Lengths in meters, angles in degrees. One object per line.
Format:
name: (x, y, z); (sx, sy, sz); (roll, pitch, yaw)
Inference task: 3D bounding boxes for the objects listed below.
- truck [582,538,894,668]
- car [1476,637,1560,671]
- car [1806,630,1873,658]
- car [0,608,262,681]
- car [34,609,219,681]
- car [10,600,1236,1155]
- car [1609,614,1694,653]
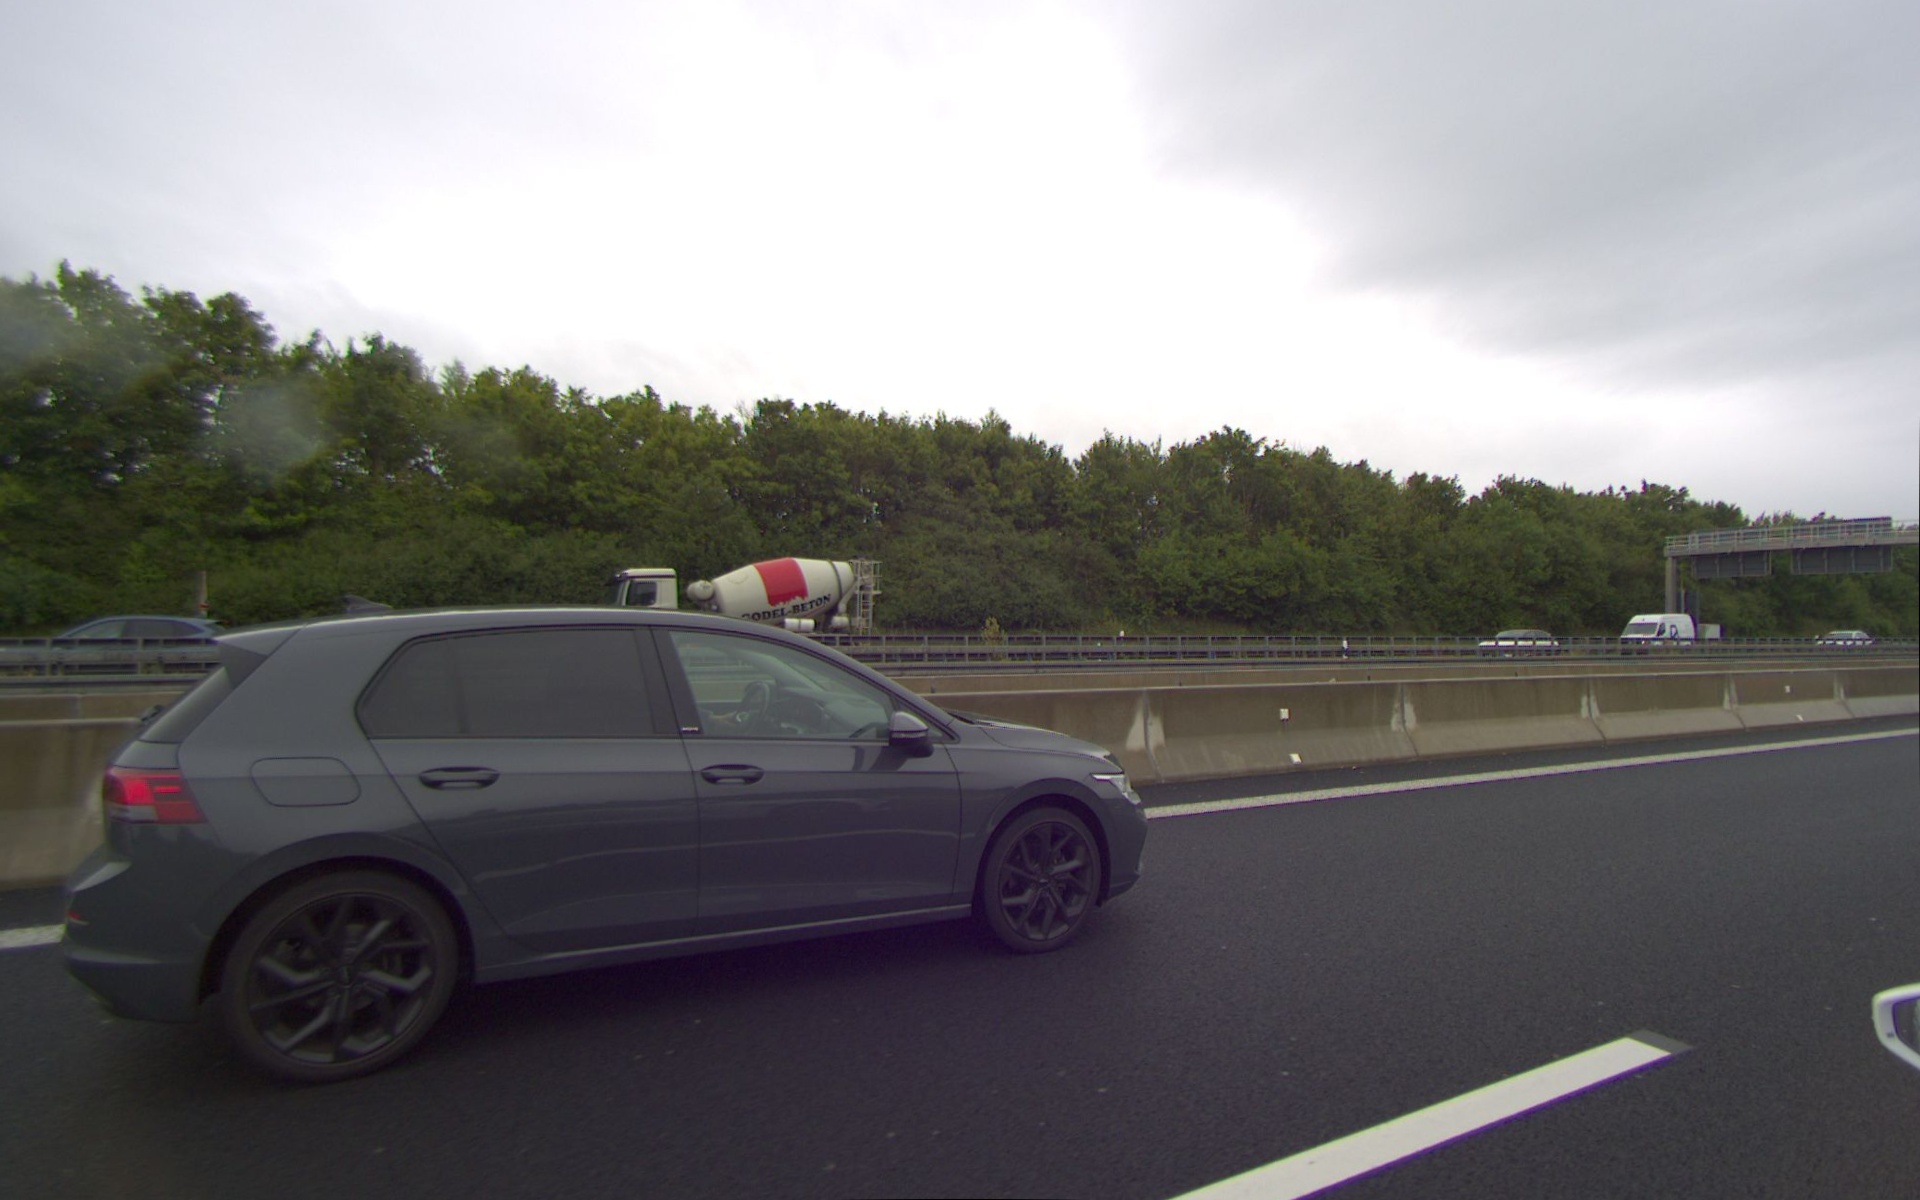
truck: (-6.946, 0.204, 32.299); (9.446, 3.709, 2.672); (1, -1, -30)
car: (25.797, 2.491, 46.400); (3.870, 1.444, 1.583); (1, 0, -29)
car: (56.665, 2.818, 64.702); (4.529, 1.760, 1.984); (1, -1, -31)
car: (-17.741, 0.912, 21.290); (4.619, 1.425, 1.985); (1, -1, -29)
car: (-24.812, 1.321, 30.086); (3.951, 2.040, 1.742); (1, -1, -29)
car: (-1.020, 0.773, 4.487); (4.315, 1.444, 1.822); (1, 0, -29)
car: (41.552, 1.983, 60.321); (5.648, 2.243, 1.984); (1, -1, -30)
